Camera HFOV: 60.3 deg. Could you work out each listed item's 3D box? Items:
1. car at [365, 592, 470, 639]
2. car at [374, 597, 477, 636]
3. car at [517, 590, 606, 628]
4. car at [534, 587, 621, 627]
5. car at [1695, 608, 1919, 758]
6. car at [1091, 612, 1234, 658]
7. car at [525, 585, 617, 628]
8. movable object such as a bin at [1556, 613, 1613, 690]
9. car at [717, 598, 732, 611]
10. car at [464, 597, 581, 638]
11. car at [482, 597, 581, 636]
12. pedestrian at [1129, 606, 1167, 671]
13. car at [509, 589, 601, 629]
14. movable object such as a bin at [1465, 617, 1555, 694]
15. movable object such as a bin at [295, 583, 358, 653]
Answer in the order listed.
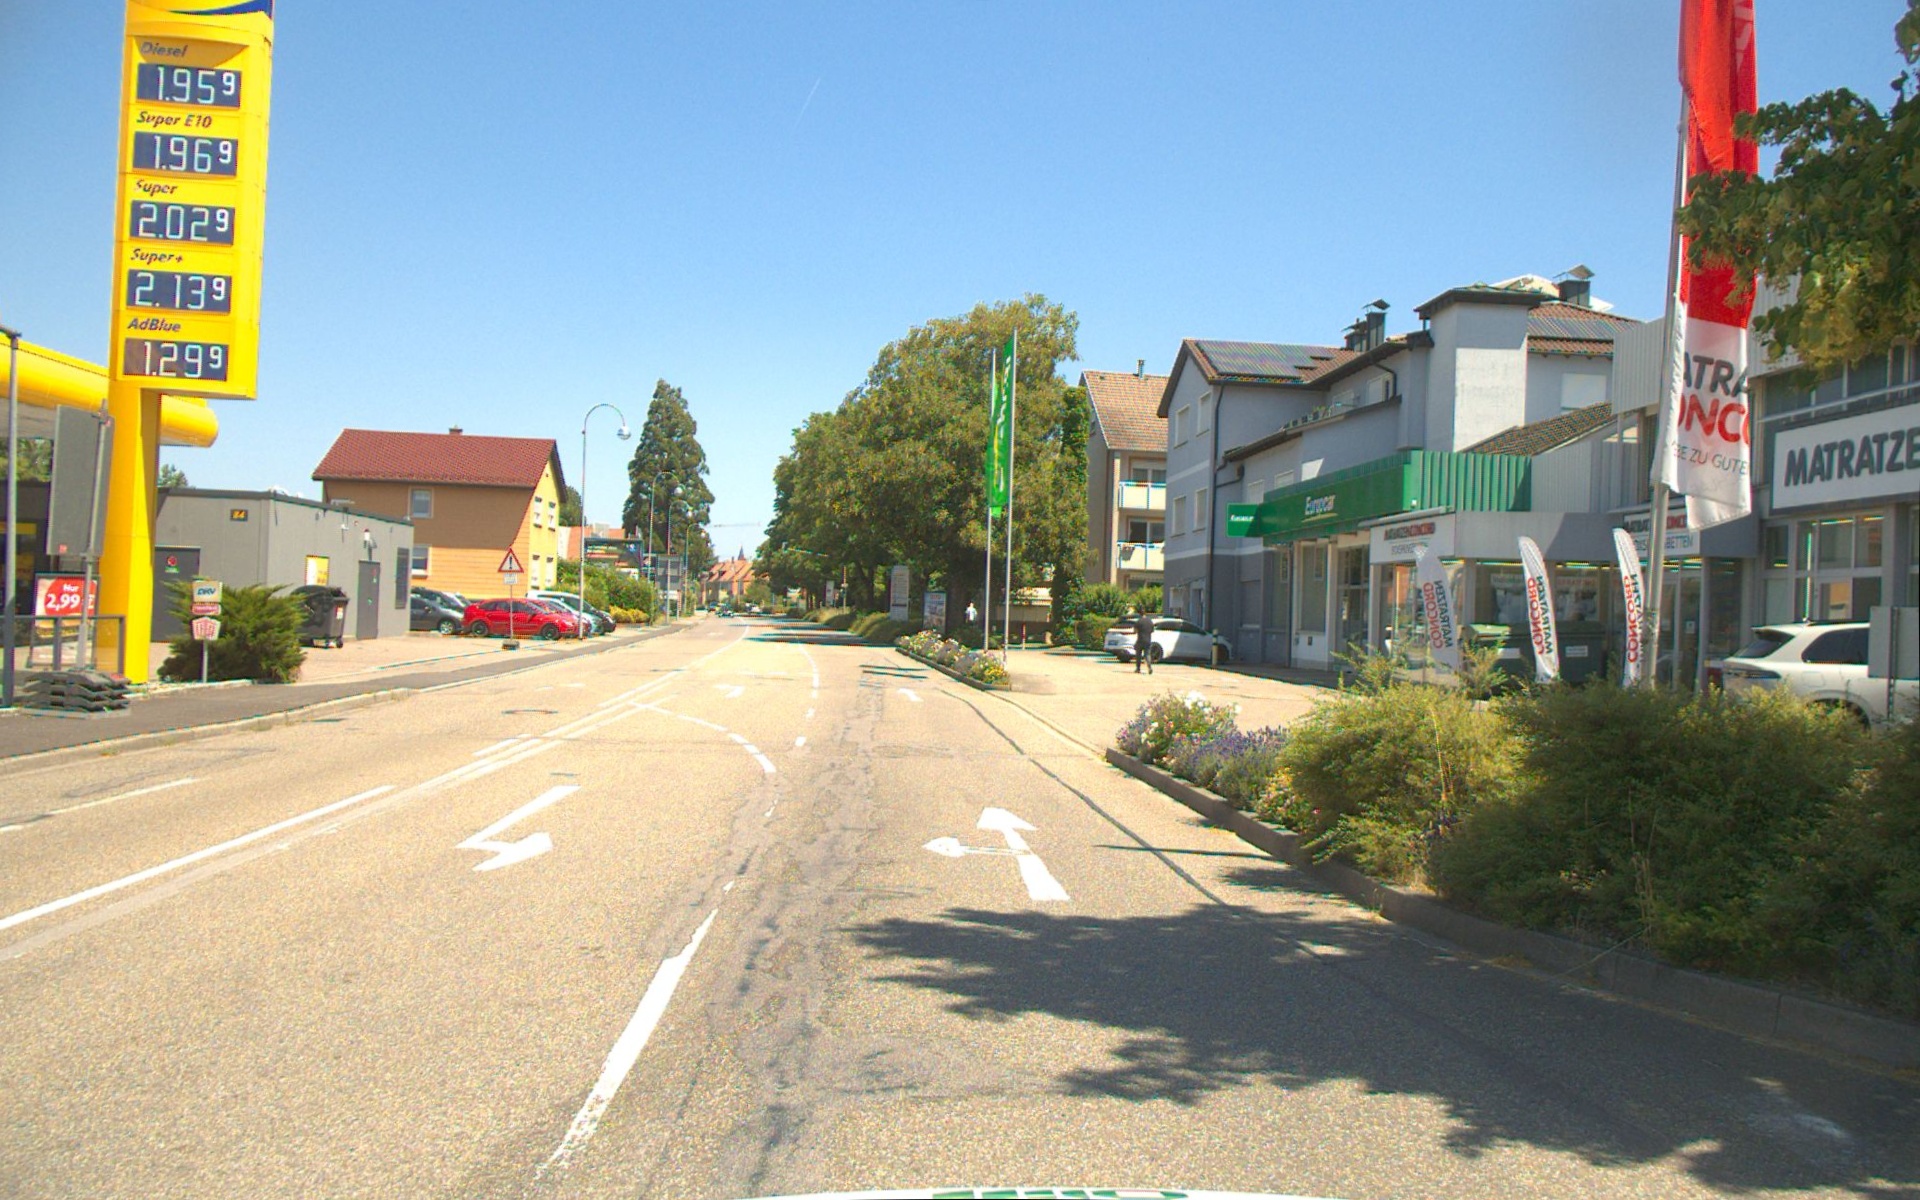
[{"bbox_3d":[-21.060,0.597,64.319,3.596,1.739,1.889,1,0,-9],"label":"car"},{"bbox_3d":[-21.394,0.657,66.295,3.595,1.483,1.889,1,0,-9],"label":"car"},{"bbox_3d":[-17.341,0.388,72.145,3.595,1.558,1.919,1,0,-9],"label":"car"},{"bbox_3d":[-17.191,0.306,74.448,3.595,1.702,1.919,1,0,-9],"label":"car"},{"bbox_3d":[11.316,0.957,19.573,4.484,1.670,2.002,1,0,13],"label":"car"},{"bbox_3d":[6.538,1.125,53.405,4.295,1.395,1.937,1,0,-29],"label":"car"},{"bbox_3d":[-17.938,0.304,76.464,4.020,1.931,1.995,1,0,-11],"label":"car"},{"bbox_3d":[12.353,1.007,32.729,0.835,1.470,0.702,-2,-1,1],"label":"movable object such as a bin"},{"bbox_3d":[-27.649,0.510,194.139,1.677,1.521,4.271,1,1,-7],"label":"car"},{"bbox_3d":[-16.597,0.679,62.942,4.047,1.469,1.824,1,0,-7],"label":"car"},{"bbox_3d":[-16.954,0.650,65.568,3.595,1.483,1.889,1,0,-9],"label":"car"},{"bbox_3d":[4.952,1.008,43.583,0.823,1.670,1.010,1,0,-2],"label":"pedestrian"},{"bbox_3d":[-17.121,0.396,70.050,3.595,1.608,1.919,1,0,-9],"label":"car"},{"bbox_3d":[10.881,1.097,32.748,1.531,1.447,0.702,-2,0,1],"label":"movable object such as a bin"},{"bbox_3d":[-15.212,0.416,39.773,0.934,1.543,1.426,5,1,-5],"label":"movable object such as a bin"}]
